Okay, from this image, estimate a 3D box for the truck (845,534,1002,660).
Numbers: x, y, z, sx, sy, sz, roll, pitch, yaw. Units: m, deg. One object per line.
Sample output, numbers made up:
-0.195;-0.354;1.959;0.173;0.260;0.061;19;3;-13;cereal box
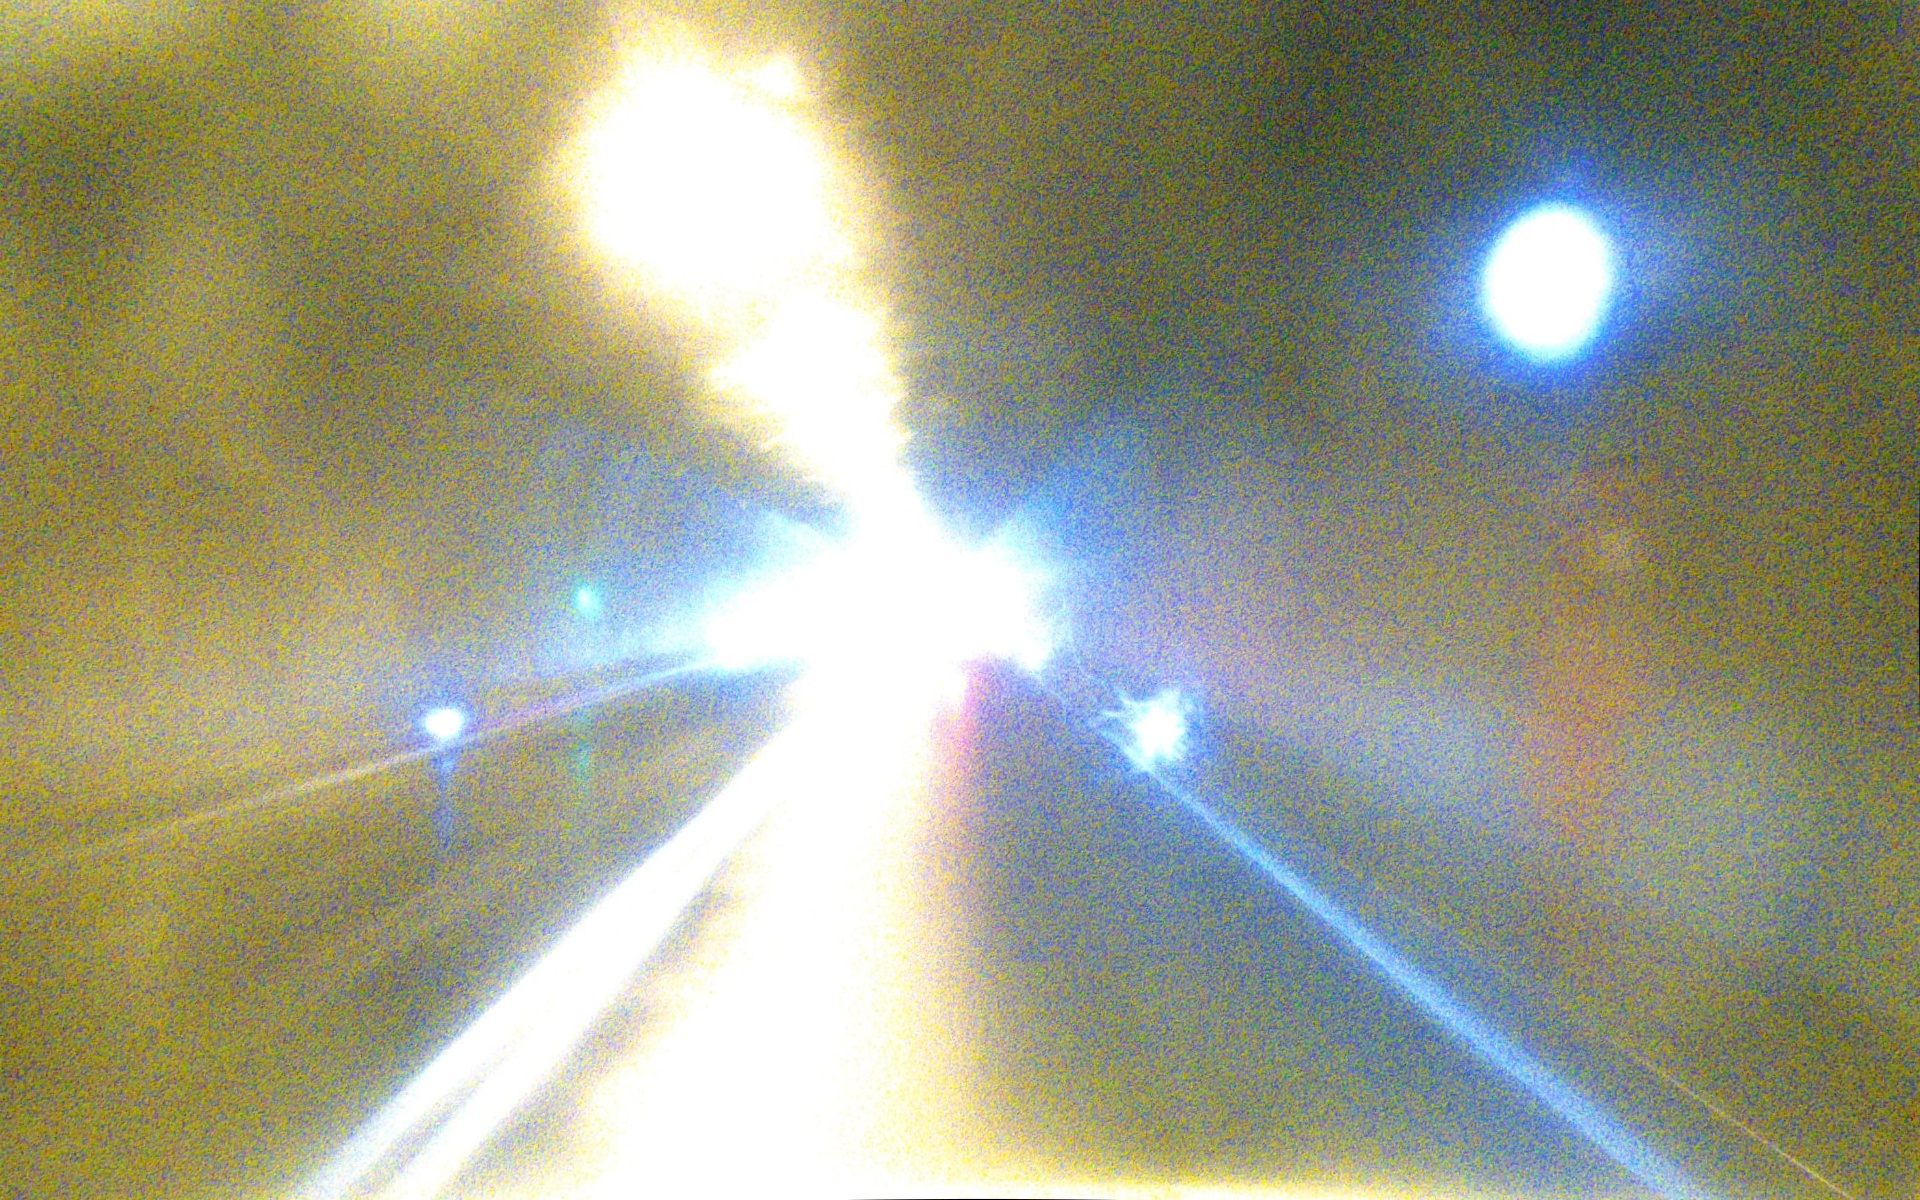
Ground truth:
-0.846;-0.070;41.629;3.463;2.740;8.954;-1;0;-1;truck
